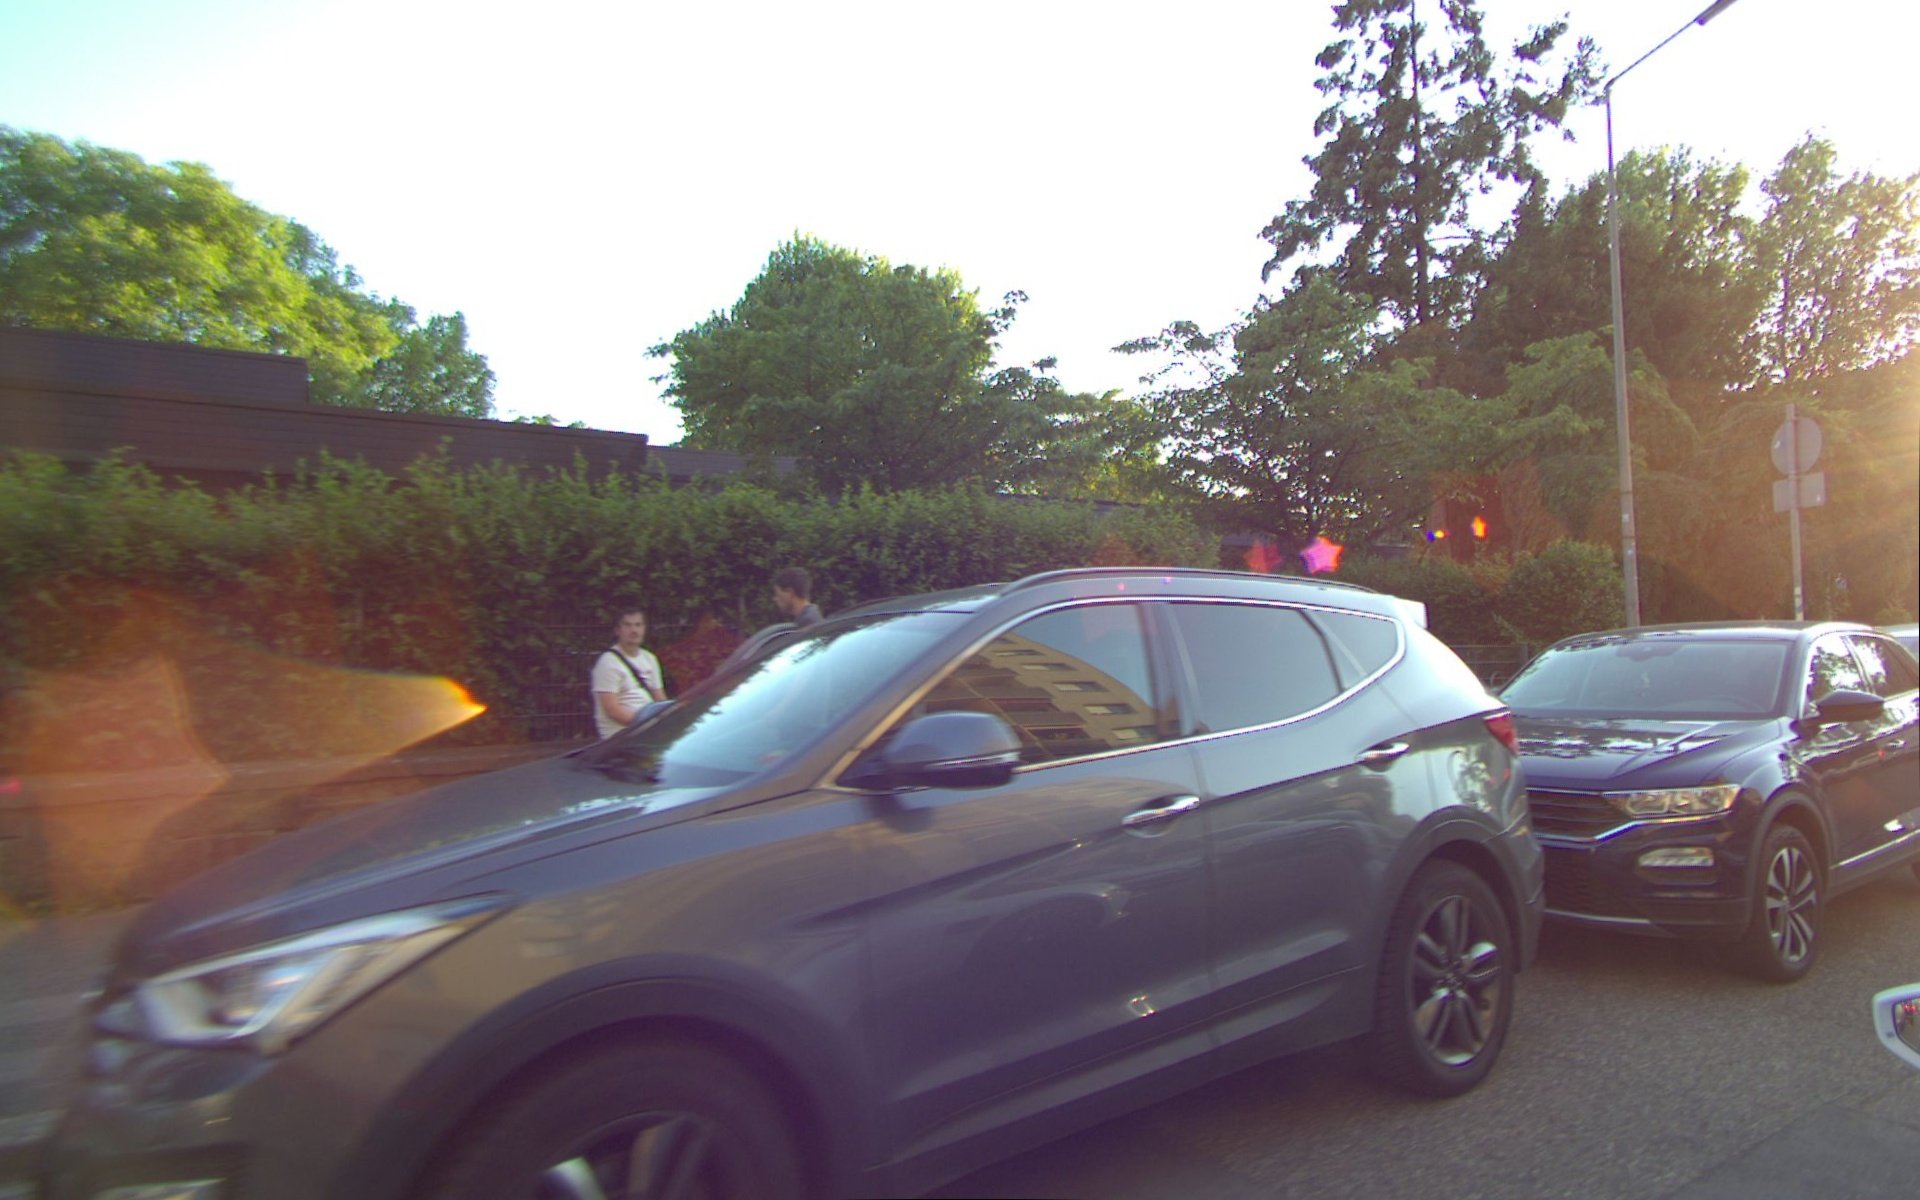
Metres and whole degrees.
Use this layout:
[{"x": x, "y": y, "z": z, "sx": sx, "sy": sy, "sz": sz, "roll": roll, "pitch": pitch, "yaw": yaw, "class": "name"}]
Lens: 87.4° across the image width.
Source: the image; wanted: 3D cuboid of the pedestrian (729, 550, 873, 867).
[{"x": -0.991, "y": 0.600, "z": 6.095, "sx": 0.738, "sy": 1.756, "sz": 0.898, "roll": 1, "pitch": 1, "yaw": -16, "class": "pedestrian"}]

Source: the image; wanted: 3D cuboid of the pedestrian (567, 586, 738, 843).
[{"x": -2.010, "y": 0.683, "z": 6.538, "sx": 0.892, "sy": 1.528, "sz": 0.744, "roll": 0, "pitch": 1, "yaw": -32, "class": "pedestrian"}]

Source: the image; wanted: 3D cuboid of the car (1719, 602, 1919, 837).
[{"x": 8.060, "y": 0.835, "z": 8.155, "sx": 4.085, "sy": 1.588, "sz": 1.724, "roll": 0, "pitch": -3, "yaw": -33, "class": "car"}]

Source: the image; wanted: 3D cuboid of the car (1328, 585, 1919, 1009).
[{"x": 4.130, "y": 0.797, "z": 5.658, "sx": 4.123, "sy": 1.588, "sz": 1.724, "roll": 0, "pitch": -3, "yaw": -33, "class": "car"}]

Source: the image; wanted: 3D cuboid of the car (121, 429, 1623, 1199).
[{"x": 0.181, "y": 0.697, "z": 3.276, "sx": 4.277, "sy": 1.753, "sz": 1.724, "roll": 0, "pitch": -3, "yaw": -33, "class": "car"}]

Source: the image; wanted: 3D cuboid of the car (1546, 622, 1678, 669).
[{"x": 25.030, "y": 1.740, "z": 38.698, "sx": 1.797, "sy": 1.511, "sz": 3.844, "roll": -6, "pitch": 0, "yaw": -23, "class": "car"}]
